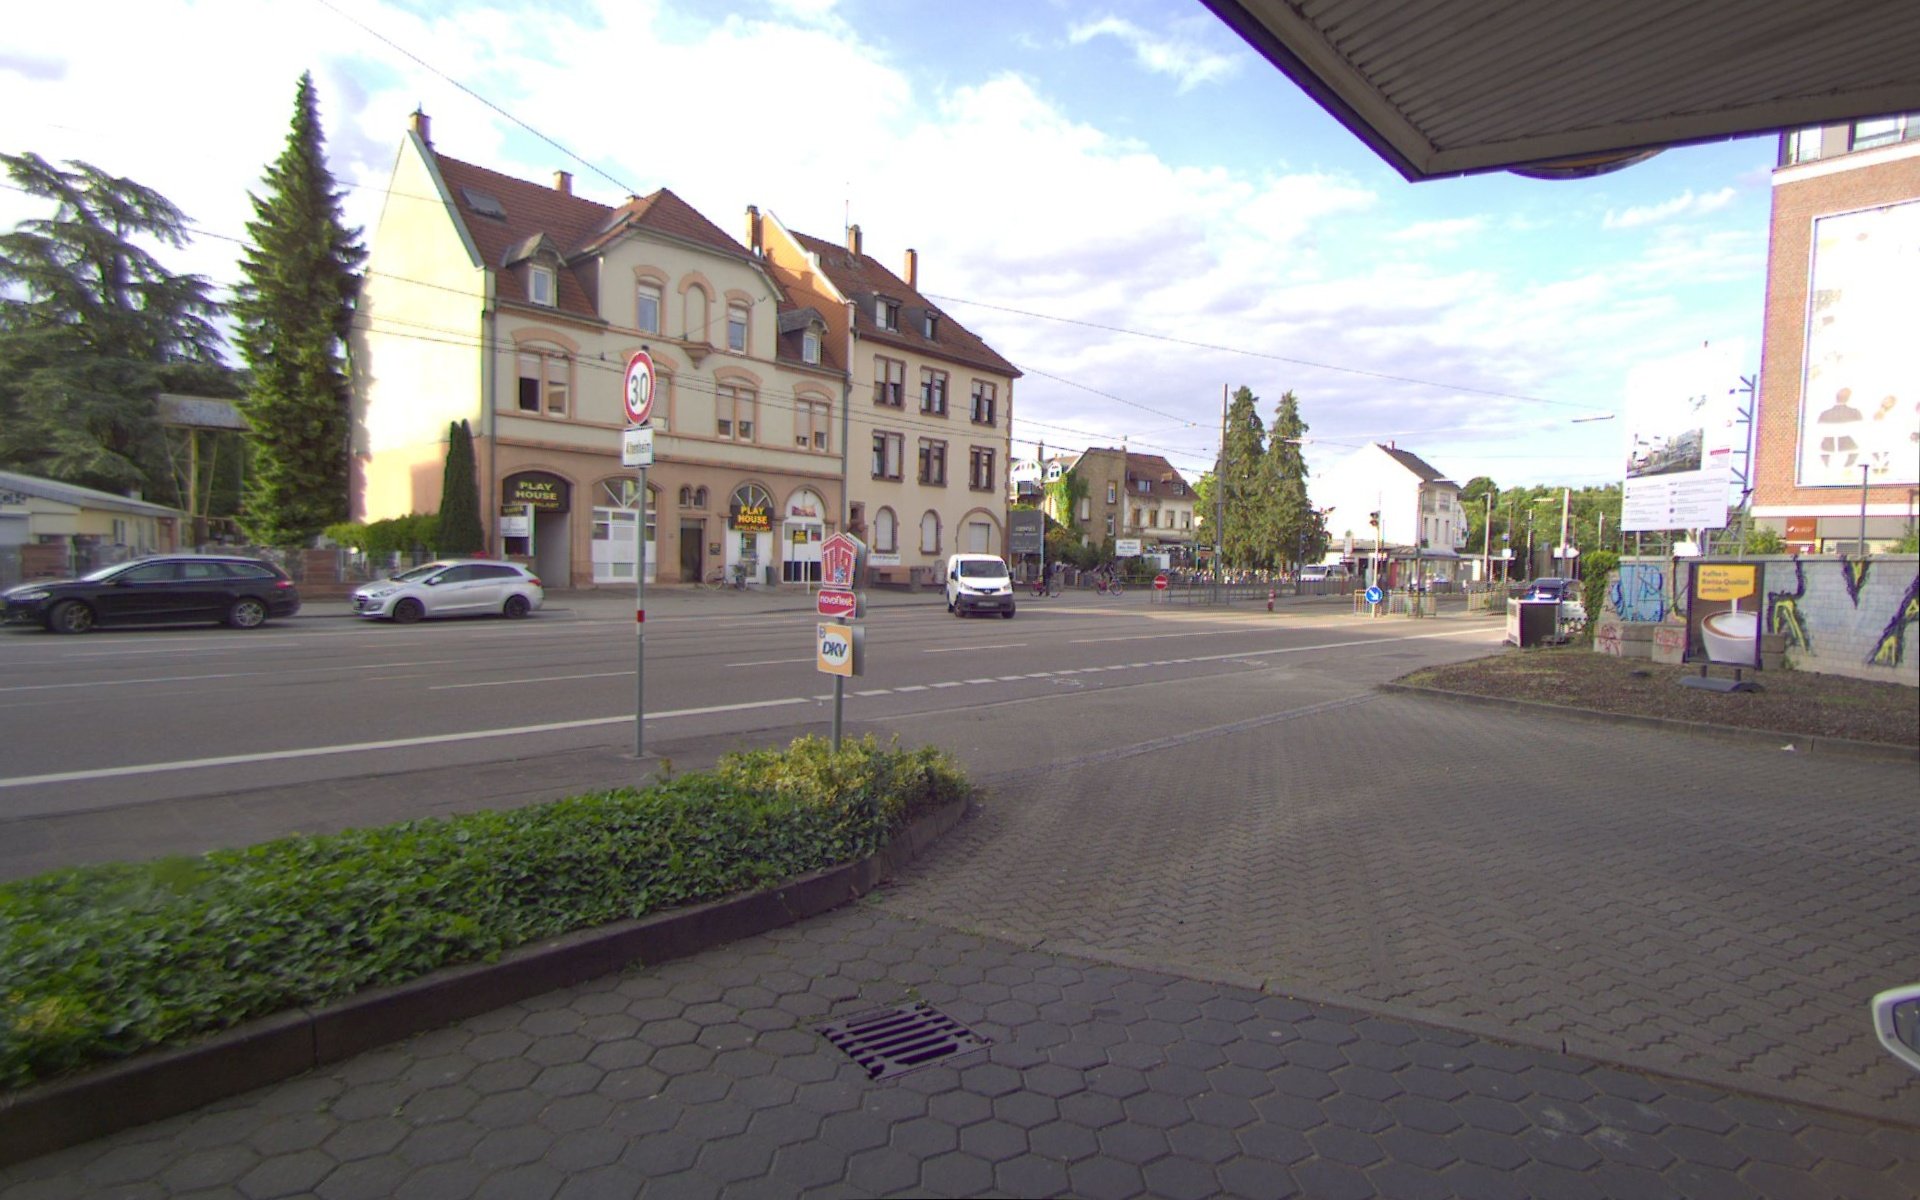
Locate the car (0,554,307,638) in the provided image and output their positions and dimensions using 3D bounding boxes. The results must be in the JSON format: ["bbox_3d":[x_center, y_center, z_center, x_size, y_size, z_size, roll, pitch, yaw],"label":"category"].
[{"bbox_3d":[-16.560,-0.145,20.735,1.970,1.516,4.801,3,3,40],"label":"car"}]

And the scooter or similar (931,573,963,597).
[{"bbox_3d":[-0.589,-0.685,45.139,0.488,1.015,1.592,5,5,39],"label":"scooter or similar"}]

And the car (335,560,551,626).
[{"bbox_3d":[-12.992,-0.243,25.467,1.970,1.495,4.467,3,3,40],"label":"car"}]

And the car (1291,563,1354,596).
[{"bbox_3d":[22.831,-1.288,63.236,1.972,1.995,4.861,3,3,43],"label":"car"}]

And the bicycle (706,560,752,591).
[{"bbox_3d":[-9.134,-0.951,39.712,0.508,1.189,1.809,4,2,40],"label":"bicycle"}]

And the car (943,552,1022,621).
[{"bbox_3d":[0.613,-0.462,31.240,1.931,1.915,4.407,2,2,-5],"label":"car"}]

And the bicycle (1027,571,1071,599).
[{"bbox_3d":[4.308,-0.719,48.662,1.884,1.219,0.839,1,6,-31],"label":"bicycle"}]

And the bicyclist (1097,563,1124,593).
[{"bbox_3d":[7.965,-1.176,53.053,1.079,1.512,0.785,2,4,-20],"label":"bicyclist"}]

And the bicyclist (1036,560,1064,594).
[{"bbox_3d":[4.339,-1.110,48.613,0.953,1.579,0.839,1,6,-31],"label":"bicyclist"}]

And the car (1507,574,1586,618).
[{"bbox_3d":[24.762,-0.189,42.359,1.745,1.679,4.822,5,4,43],"label":"car"}]

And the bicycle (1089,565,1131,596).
[{"bbox_3d":[7.912,-1.042,53.043,1.962,1.512,0.785,2,4,-21],"label":"bicycle"}]
